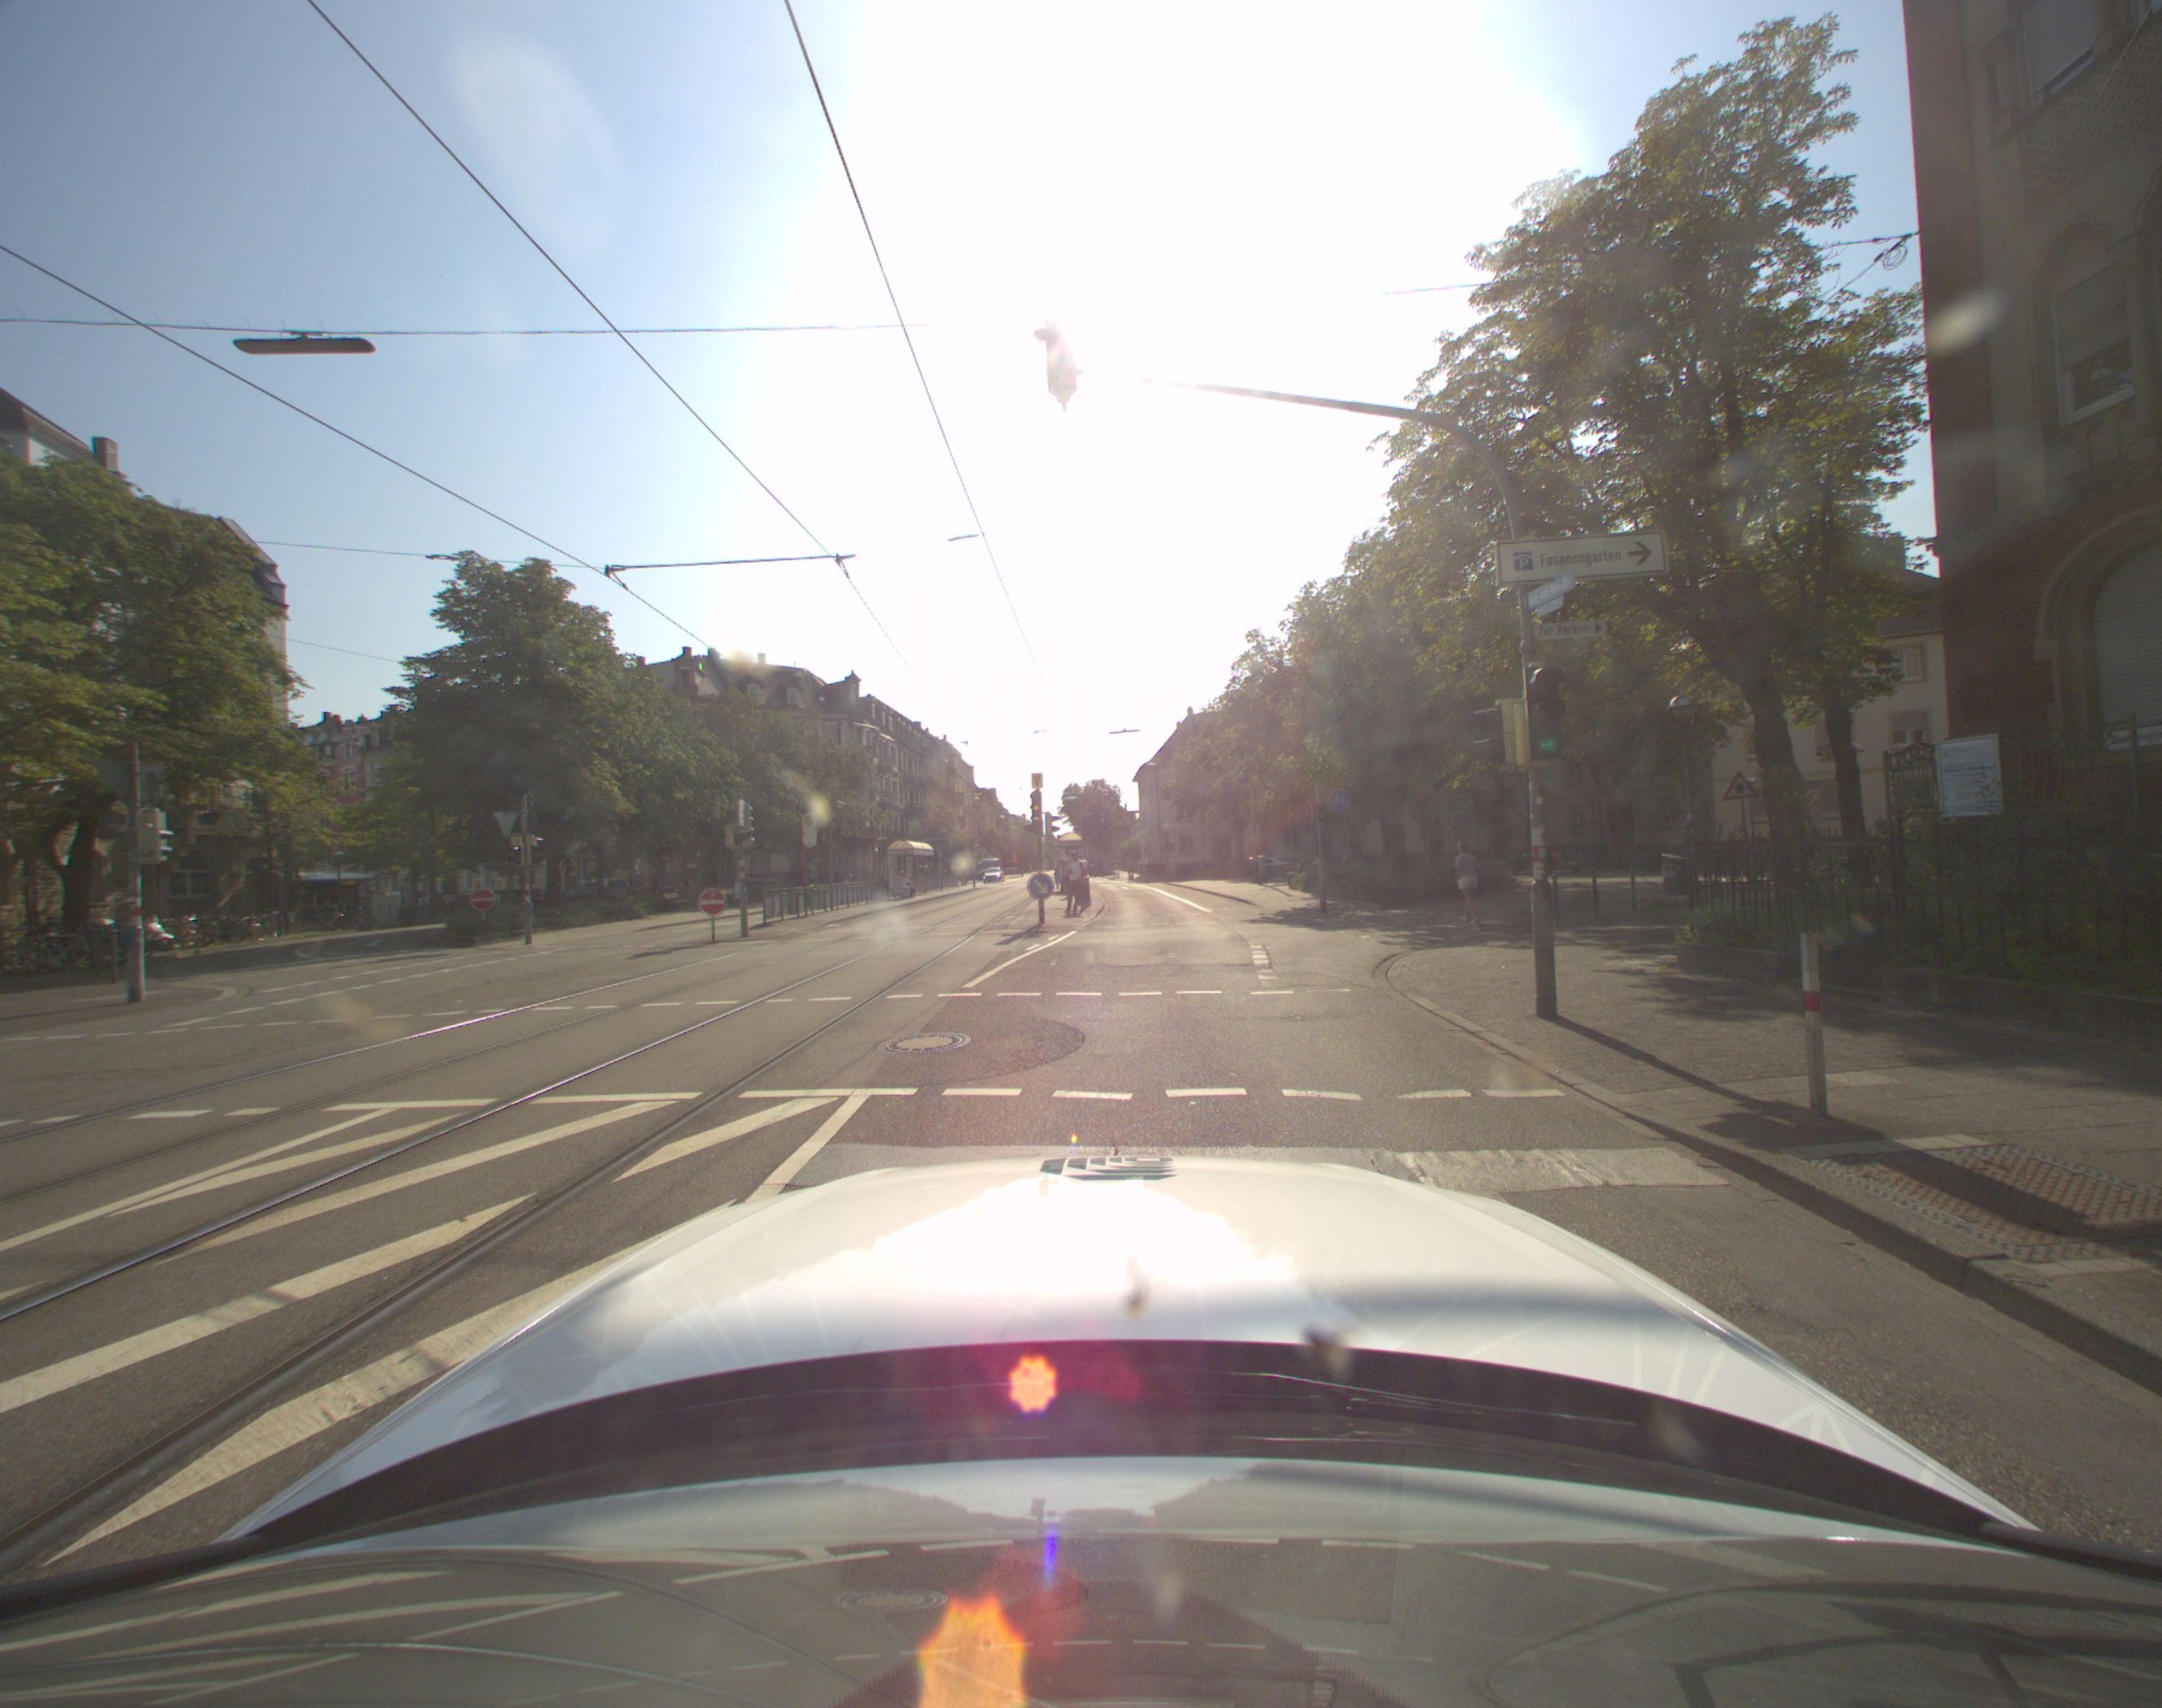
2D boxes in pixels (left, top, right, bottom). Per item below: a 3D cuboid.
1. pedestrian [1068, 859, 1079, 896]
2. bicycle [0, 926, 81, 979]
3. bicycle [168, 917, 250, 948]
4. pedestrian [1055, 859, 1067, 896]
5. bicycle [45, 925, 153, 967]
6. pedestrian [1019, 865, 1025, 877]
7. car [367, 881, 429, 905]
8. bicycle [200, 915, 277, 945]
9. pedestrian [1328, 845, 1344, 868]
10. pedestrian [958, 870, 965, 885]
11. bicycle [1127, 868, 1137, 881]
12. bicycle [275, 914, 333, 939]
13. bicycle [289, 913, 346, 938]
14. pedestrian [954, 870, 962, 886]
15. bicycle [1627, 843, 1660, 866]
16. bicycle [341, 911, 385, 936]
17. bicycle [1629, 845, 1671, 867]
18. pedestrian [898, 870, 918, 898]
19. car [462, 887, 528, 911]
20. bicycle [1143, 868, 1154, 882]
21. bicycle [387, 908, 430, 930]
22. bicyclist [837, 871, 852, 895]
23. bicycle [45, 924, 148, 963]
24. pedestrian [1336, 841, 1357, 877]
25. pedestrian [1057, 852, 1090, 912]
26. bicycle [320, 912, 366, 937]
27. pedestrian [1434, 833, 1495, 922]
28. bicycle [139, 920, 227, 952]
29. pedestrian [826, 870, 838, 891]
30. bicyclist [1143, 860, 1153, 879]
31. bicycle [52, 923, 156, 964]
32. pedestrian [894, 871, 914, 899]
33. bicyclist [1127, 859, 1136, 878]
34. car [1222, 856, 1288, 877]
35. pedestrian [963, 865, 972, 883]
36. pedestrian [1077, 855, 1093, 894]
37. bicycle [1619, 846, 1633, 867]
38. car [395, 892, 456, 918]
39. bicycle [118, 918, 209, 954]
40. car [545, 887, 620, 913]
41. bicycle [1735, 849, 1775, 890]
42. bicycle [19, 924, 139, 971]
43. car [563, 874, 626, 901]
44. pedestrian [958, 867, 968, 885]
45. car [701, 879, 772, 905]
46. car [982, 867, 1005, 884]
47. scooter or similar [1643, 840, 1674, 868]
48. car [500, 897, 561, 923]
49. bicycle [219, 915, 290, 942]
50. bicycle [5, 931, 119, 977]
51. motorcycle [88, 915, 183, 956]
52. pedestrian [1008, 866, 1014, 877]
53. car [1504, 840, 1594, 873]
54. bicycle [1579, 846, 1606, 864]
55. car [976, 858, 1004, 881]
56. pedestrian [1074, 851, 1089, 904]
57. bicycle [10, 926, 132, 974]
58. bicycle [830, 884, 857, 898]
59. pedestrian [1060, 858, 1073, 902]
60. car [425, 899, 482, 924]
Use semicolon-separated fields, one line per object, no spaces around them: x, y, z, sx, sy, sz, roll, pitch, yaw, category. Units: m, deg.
-0.357;1.140;40.031;0.502;1.759;0.534;0;1;1;pedestrian
-24.976;2.319;19.057;0.563;1.113;1.888;-3;-2;21;bicycle
-31.755;2.845;29.697;1.908;0.980;0.679;-1;-2;-34;bicycle
-0.975;1.145;39.455;0.530;1.759;0.545;0;1;2;pedestrian
-27.040;2.521;22.464;1.814;0.984;0.563;-1;-2;-41;bicycle
-9.223;2.664;127.609;0.749;1.731;0.769;-3;-1;-8;pedestrian
-58.618;3.310;69.890;3.959;1.828;2.007;-3;-1;13;car
-32.093;2.876;31.060;1.908;0.980;0.679;-1;-2;-34;bicycle
20.611;0.194;65.739;0.780;1.740;0.883;-2;-1;-42;pedestrian
-14.061;2.740;95.845;0.749;1.731;0.769;-3;-1;-8;pedestrian
4.166;1.654;66.475;0.627;0.978;1.769;-3;-1;-1;bicycle
-34.785;3.231;36.486;1.771;0.978;0.516;-3;-1;-22;bicycle
-34.910;3.241;37.262;1.772;0.978;0.600;-3;-1;-23;bicycle
-14.046;2.715;93.027;0.749;1.731;0.769;-3;-1;-8;pedestrian
27.906;0.025;40.395;1.555;1.039;0.423;-3;-1;-19;bicycle
-33.301;3.206;37.784;0.423;0.978;1.770;-3;-1;0;bicycle
27.239;0.086;39.019;1.539;0.978;0.427;-3;-1;15;bicycle
-8.911;1.547;41.895;0.826;1.359;0.775;-3;-1;-4;pedestrian
-43.920;3.361;61.053;4.284;1.569;2.011;-3;-1;22;car
5.113;1.570;61.718;0.556;0.978;1.855;-3;-1;-1;bicycle
-33.914;3.271;41.102;1.754;0.978;0.606;-3;-1;7;bicycle
-18.873;2.316;64.868;0.993;1.857;0.488;-2;-1;-32;bicyclist
-28.750;2.598;23.823;1.814;0.977;0.652;-1;-2;-41;bicycle
13.480;0.247;41.390;0.883;1.740;0.780;-3;-1;20;pedestrian
-0.216;0.814;24.248;0.693;1.725;0.753;1;2;33;pedestrian
-33.676;3.207;37.198;0.423;0.978;1.770;-3;-1;0;bicycle
7.731;0.471;16.443;0.749;1.731;0.769;-3;-1;-8;pedestrian
-31.159;2.822;28.292;1.919;0.935;0.730;-1;-2;-34;bicycle
-21.172;2.249;69.240;0.775;1.731;0.744;-2;-1;-38;pedestrian
5.088;1.189;61.737;0.556;1.417;0.871;-3;-1;-1;bicyclist
-27.894;2.548;23.305;1.814;0.983;0.652;-1;-2;-41;bicycle
-8.900;1.531;40.918;0.826;1.359;0.775;-3;-1;-4;pedestrian
4.148;1.157;66.481;0.627;1.507;0.678;-3;-1;-1;bicyclist
12.973;0.948;60.773;4.280;1.320;2.013;-3;-1;39;car
-11.426;2.029;81.961;0.749;1.731;0.769;-3;-1;-8;pedestrian
0.202;0.958;37.411;0.706;1.759;0.534;0;1;0;pedestrian
26.981;0.131;40.283;0.420;0.978;1.566;-4;-1;38;bicycle
-51.903;4.022;64.509;3.952;1.828;2.011;-3;-1;22;car
-30.572;2.729;27.170;1.885;1.027;0.657;-1;-2;-34;bicycle
-34.964;3.217;57.144;4.289;1.569;2.009;-3;-1;16;car
17.526;0.387;21.151;1.779;0.978;0.421;-2;-1;-39;bicycle
-26.184;2.416;21.329;1.887;1.034;0.563;-1;-2;-39;bicycle
-36.599;2.541;61.306;3.952;1.828;2.011;-3;-1;22;car
-11.296;2.098;77.881;0.747;1.731;0.772;-3;-1;3;pedestrian
-24.509;2.664;57.984;4.353;1.569;1.979;-2;-1;-34;car
-9.017;2.239;84.226;1.795;1.653;3.643;-3;-1;1;car
27.086;0.002;38.192;1.059;1.197;0.462;-7;-2;32;scooter or similar
-43.358;4.444;64.157;3.952;1.828;2.011;-3;-1;22;car
-32.866;2.944;32.404;1.877;0.935;0.635;-2;-2;-18;bicycle
-24.082;2.340;19.277;0.473;0.920;1.619;-3;-2;31;bicycle
-30.278;2.603;26.118;1.882;1.154;0.601;-1;-2;-34;motorcycle
-11.179;2.757;129.870;0.749;1.731;0.769;-3;-1;-8;pedestrian
22.339;0.125;39.034;1.849;1.418;3.996;-3;-1;-2;car
28.266;0.074;45.050;0.423;0.978;1.554;-3;-1;-2;bicycle
-11.149;1.912;100.351;2.336;2.662;5.111;-3;-1;4;car
0.007;0.821;28.513;0.502;1.834;0.534;0;1;1;pedestrian
-25.126;2.360;20.300;0.562;1.003;1.890;-4;-2;37;bicycle
-18.918;2.937;64.812;1.949;0.978;0.491;-2;-1;-33;bicycle
-0.575;1.036;33.217;0.502;1.759;0.534;0;1;1;pedestrian
-52.089;4.751;67.615;3.952;1.828;2.011;-3;-1;22;car
